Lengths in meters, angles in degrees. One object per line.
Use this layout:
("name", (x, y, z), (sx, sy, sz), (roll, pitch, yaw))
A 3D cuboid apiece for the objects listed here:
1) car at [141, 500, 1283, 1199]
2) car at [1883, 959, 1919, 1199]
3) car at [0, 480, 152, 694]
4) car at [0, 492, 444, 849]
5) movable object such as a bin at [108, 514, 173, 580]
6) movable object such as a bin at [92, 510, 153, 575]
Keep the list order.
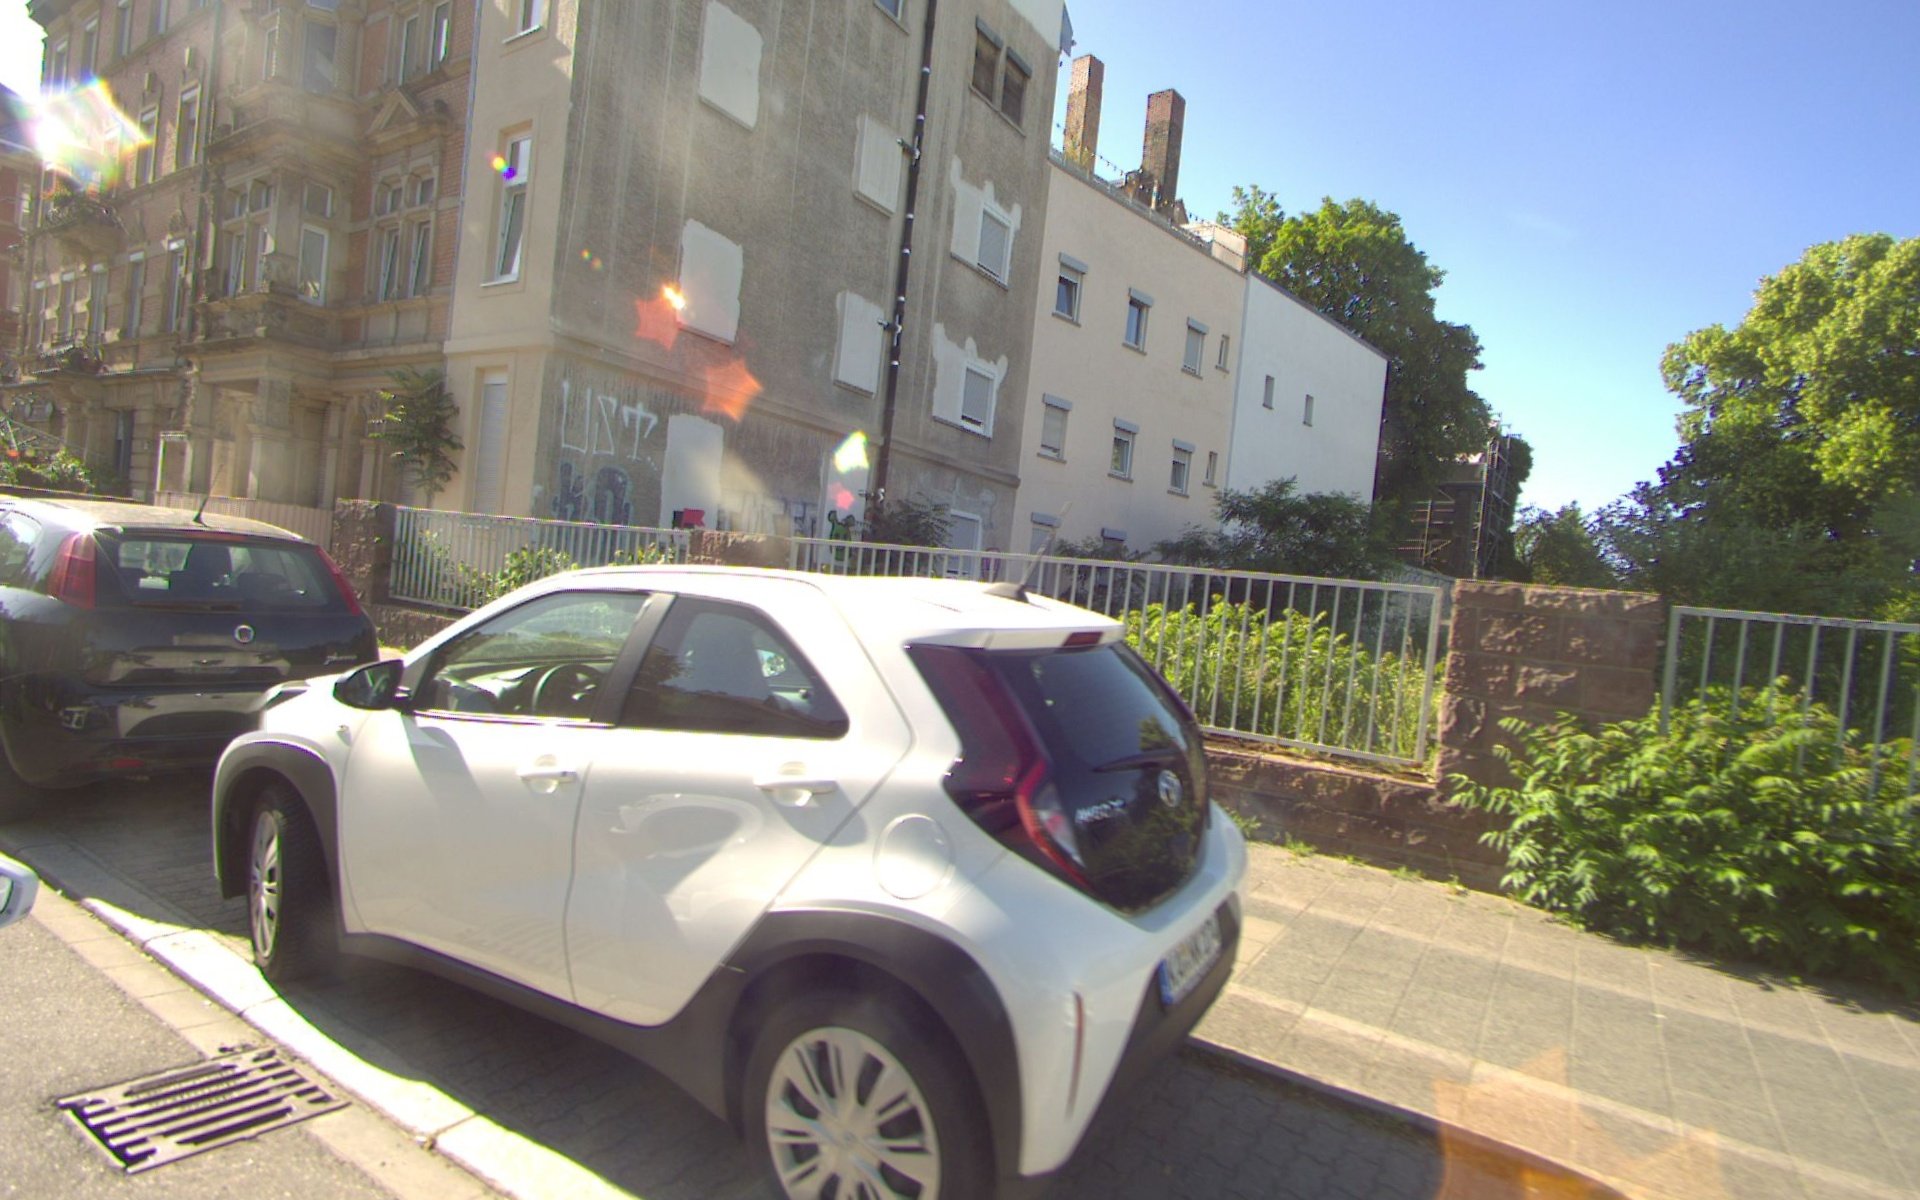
("car", (-0.966, 0.629, 3.509), (3.598, 1.538, 1.670), (7, 1, 29))
("car", (3.388, 1.084, 0.767), (3.598, 1.466, 1.607), (7, 4, 32))
("car", (-8.820, -0.313, 8.295), (4.409, 1.538, 1.936), (7, 1, 32))
("car", (-4.879, 0.170, 5.758), (3.712, 1.411, 1.669), (7, 1, 31))
("movable object such as a bin", (-15.736, -1.007, 19.314), (0.599, 1.170, 0.759), (3, -2, 34))
("movable object such as a bin", (-16.459, -1.122, 19.779), (0.599, 1.170, 0.722), (3, -2, 34))
